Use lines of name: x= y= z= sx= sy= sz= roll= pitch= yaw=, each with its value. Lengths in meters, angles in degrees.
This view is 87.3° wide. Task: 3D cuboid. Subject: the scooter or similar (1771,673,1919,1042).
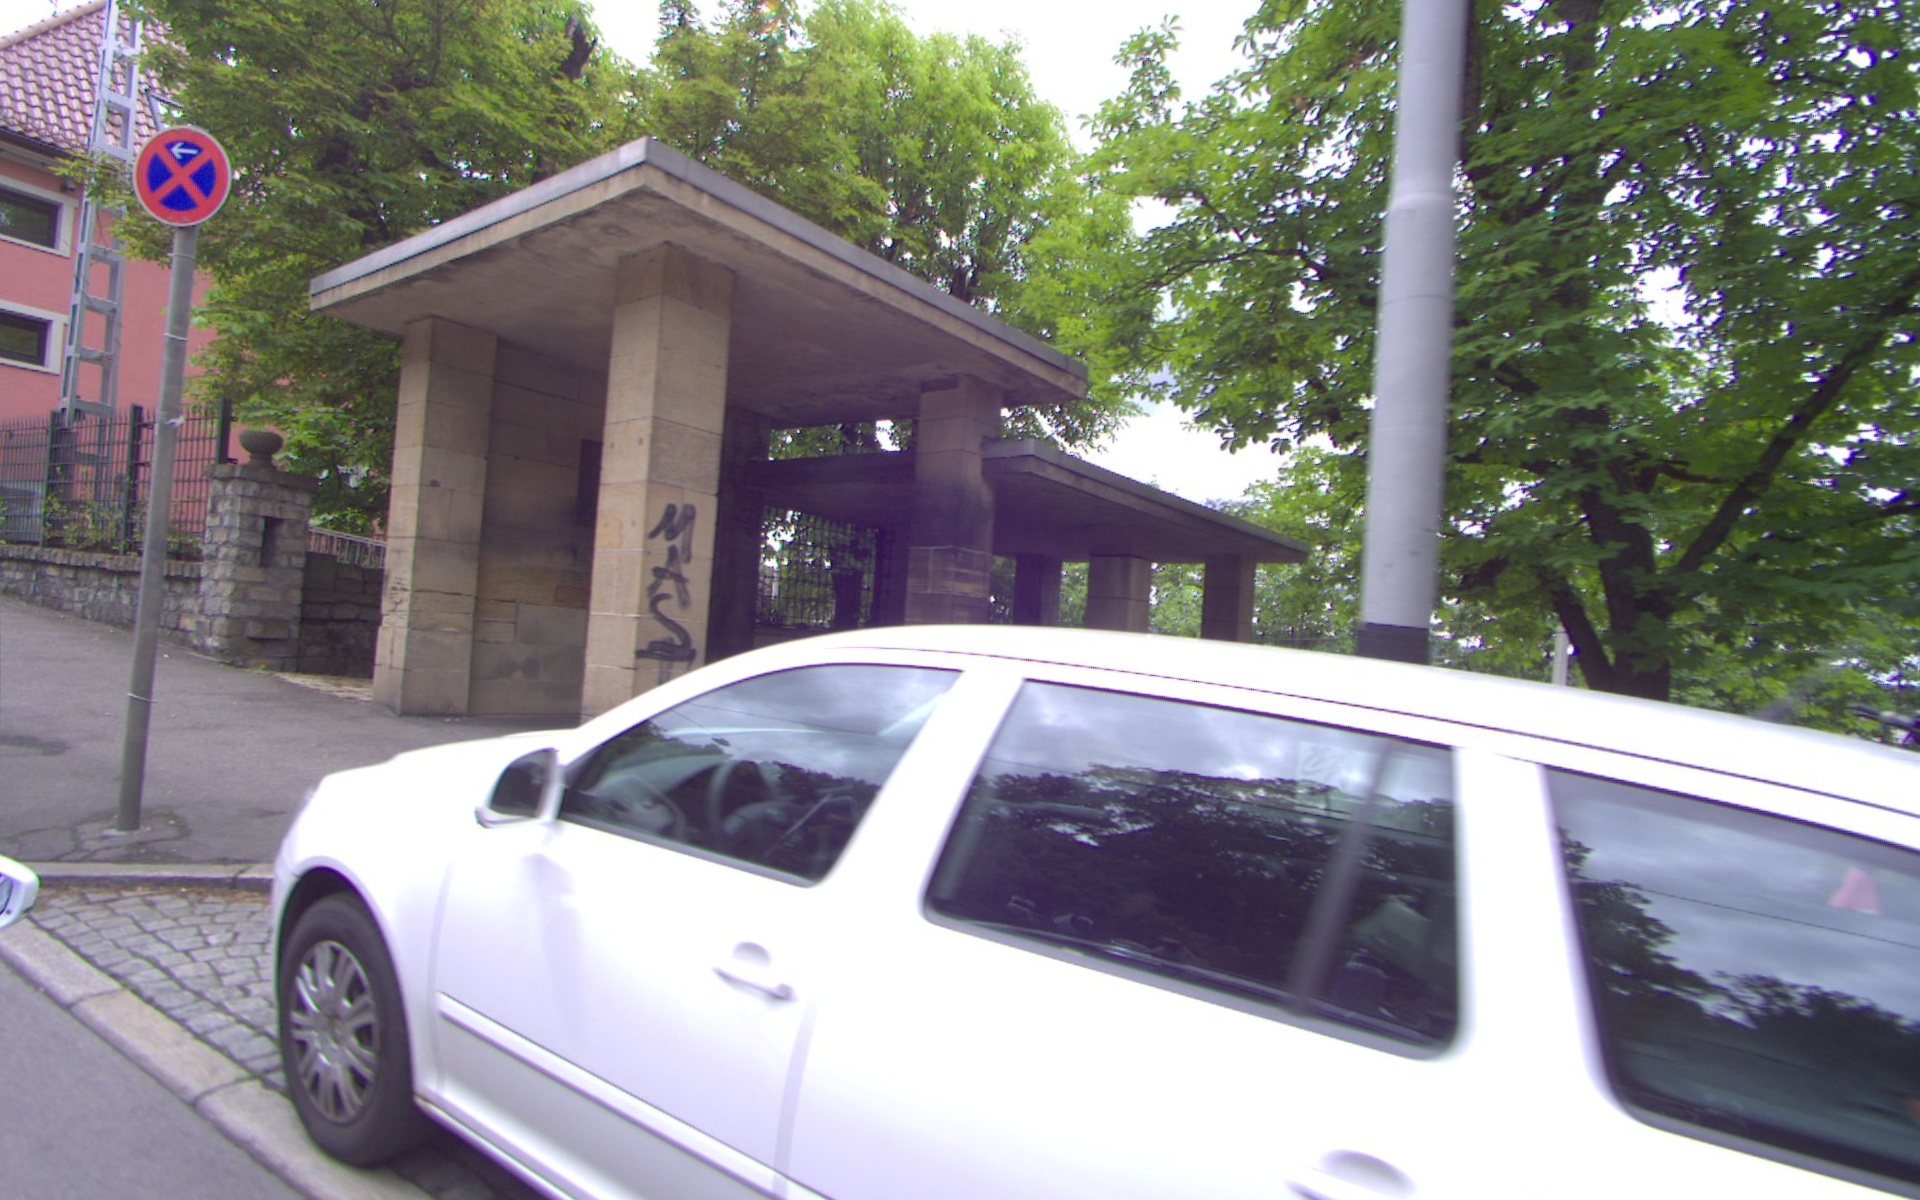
scooter or similar: x=3.814 y=0.985 z=3.690 sx=1.150 sy=1.277 sz=0.516 roll=7 pitch=3 yaw=36

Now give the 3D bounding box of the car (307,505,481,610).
car: x=-10.891 y=-0.828 z=19.323 sx=3.093 sy=1.702 sz=1.438 roll=5 pitch=-3 yaw=32

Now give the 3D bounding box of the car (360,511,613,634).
car: x=-8.097 y=-0.481 z=17.151 sx=3.934 sy=1.525 sz=1.996 roll=7 pitch=0 yaw=32

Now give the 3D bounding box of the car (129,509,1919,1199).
car: x=-0.046 y=0.726 z=2.383 sx=4.294 sy=1.480 sz=1.676 roll=6 pitch=1 yaw=33

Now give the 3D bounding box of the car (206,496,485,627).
car: x=-9.365 y=-0.595 z=15.283 sx=3.934 sy=1.439 sz=1.996 roll=7 pitch=0 yaw=32
